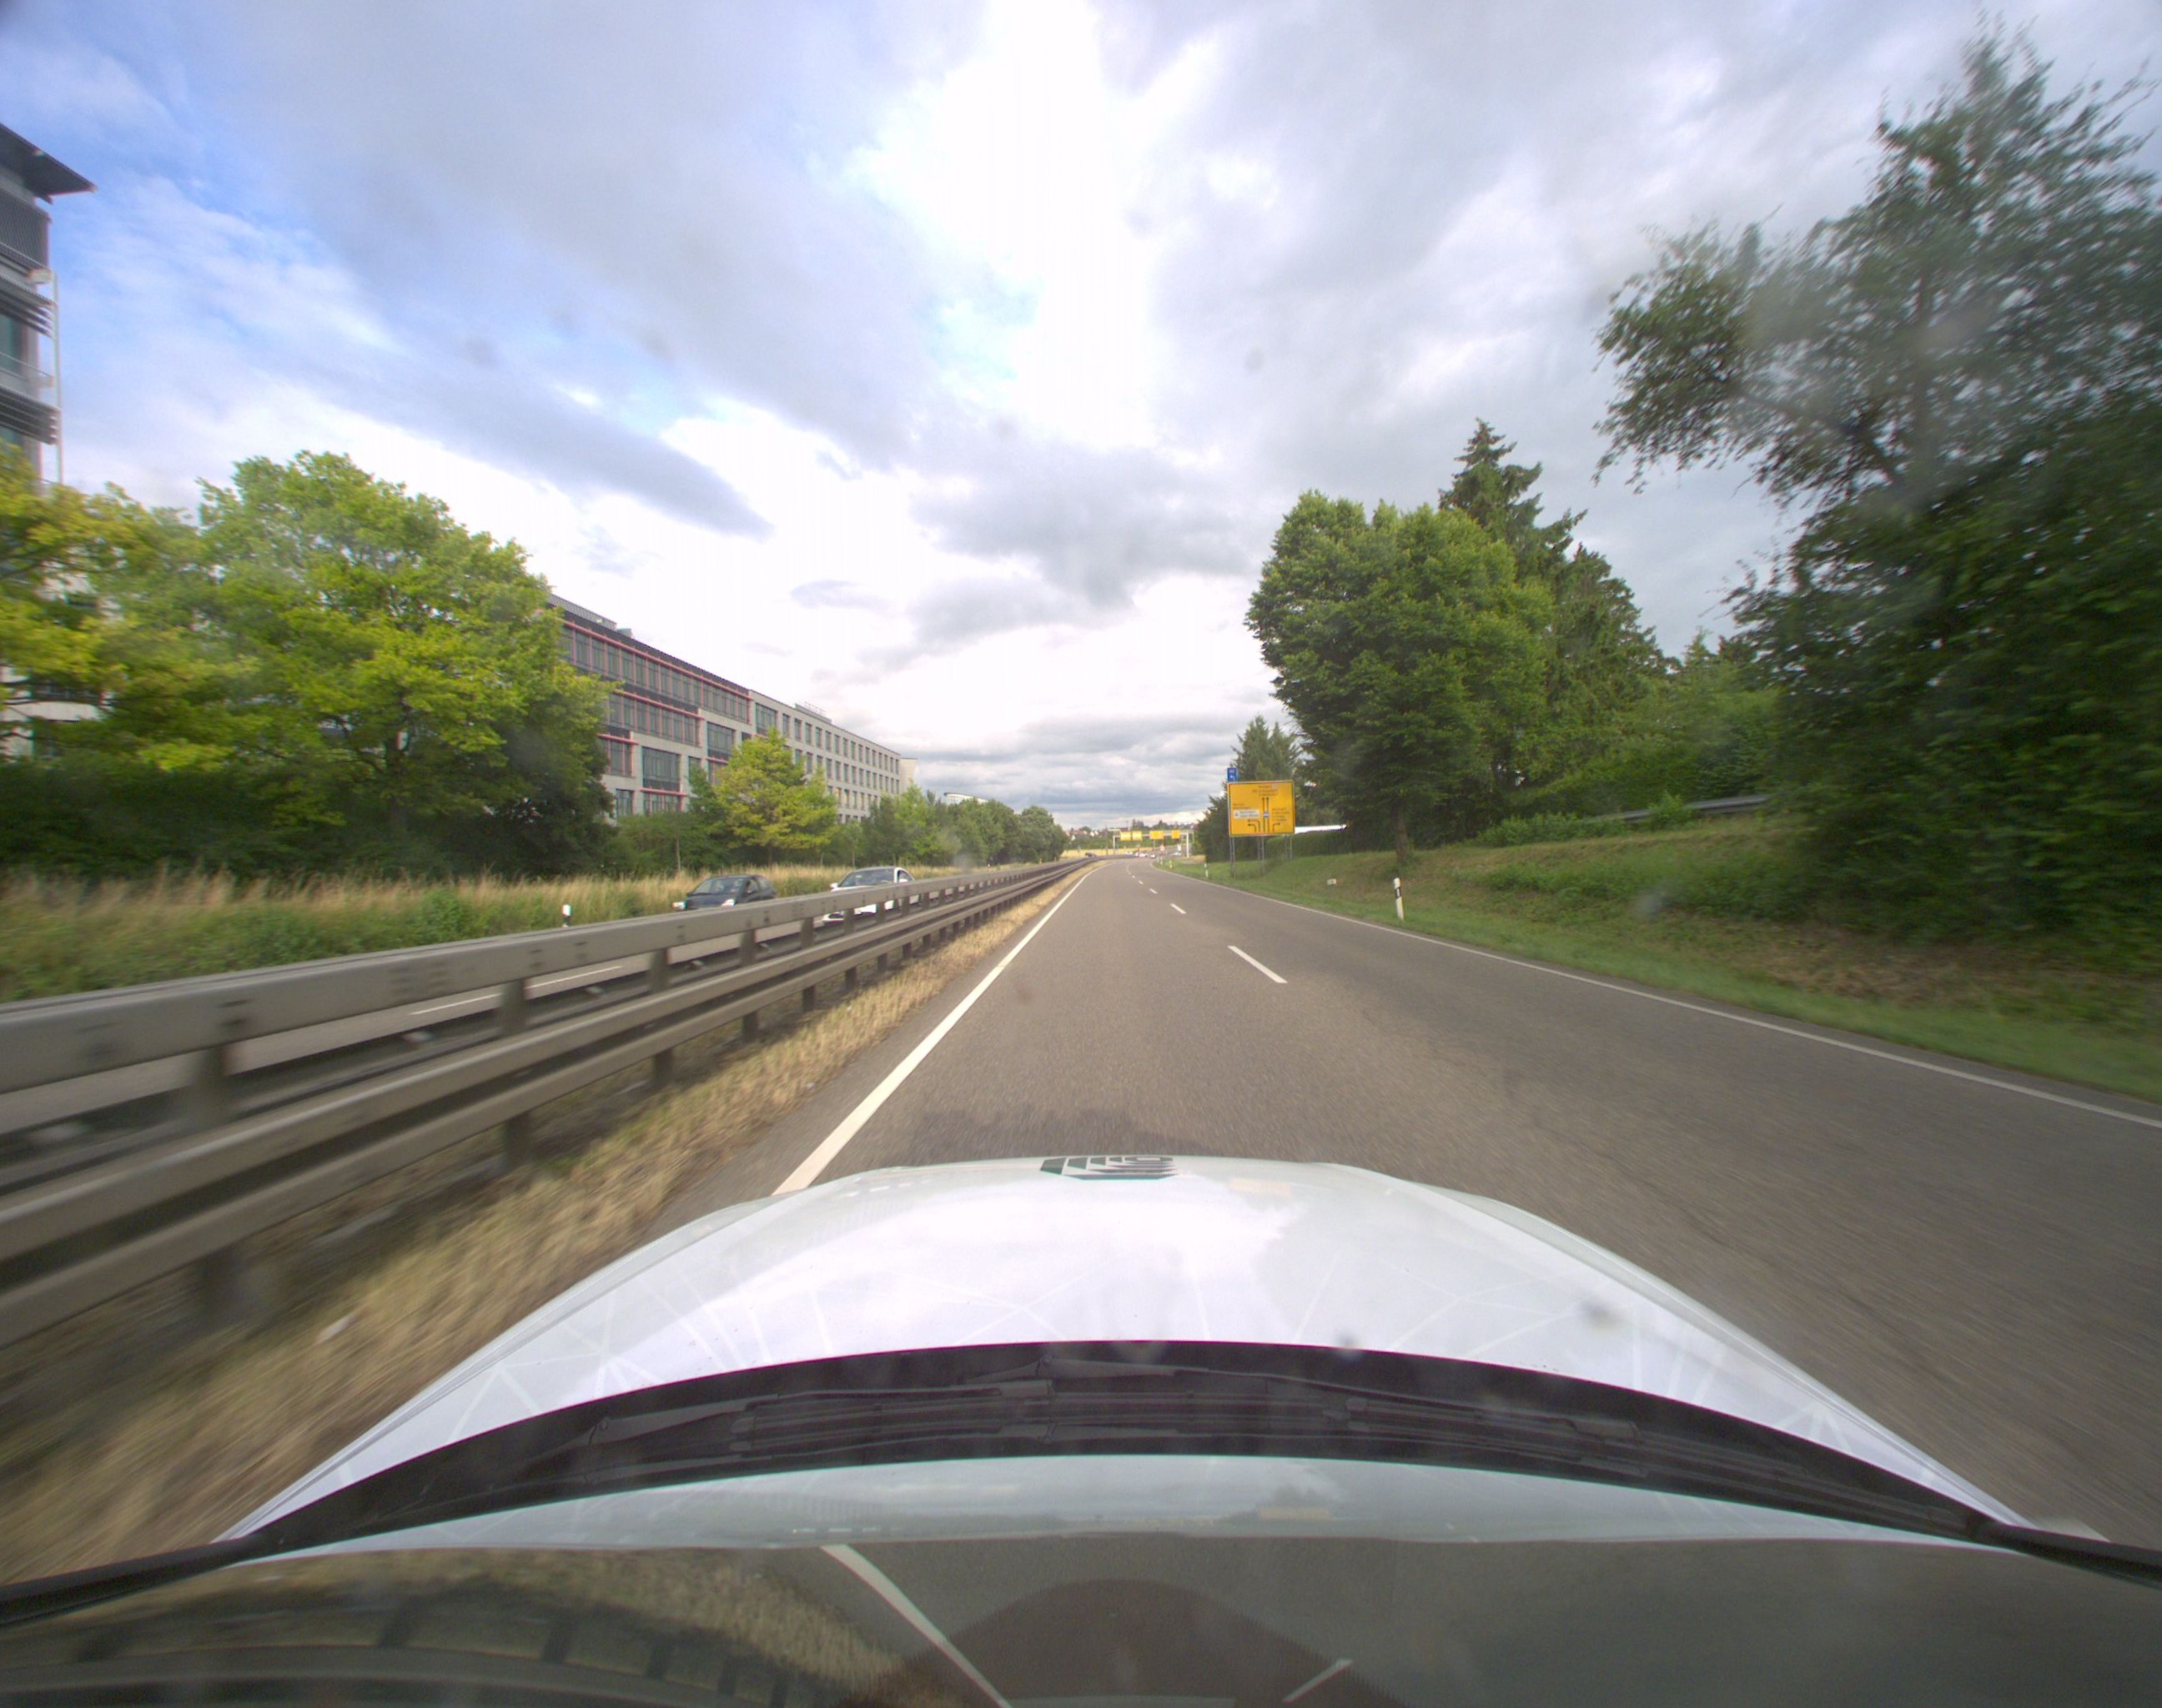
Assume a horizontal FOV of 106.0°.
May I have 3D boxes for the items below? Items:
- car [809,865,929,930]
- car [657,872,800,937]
[{"bbox_3d":[-5.417,1.051,21.444,1.828,1.378,4.567,-3,0,1],"label":"car"},{"bbox_3d":[-9.491,1.292,22.394,1.750,1.422,4.569,-2,0,2],"label":"car"}]
